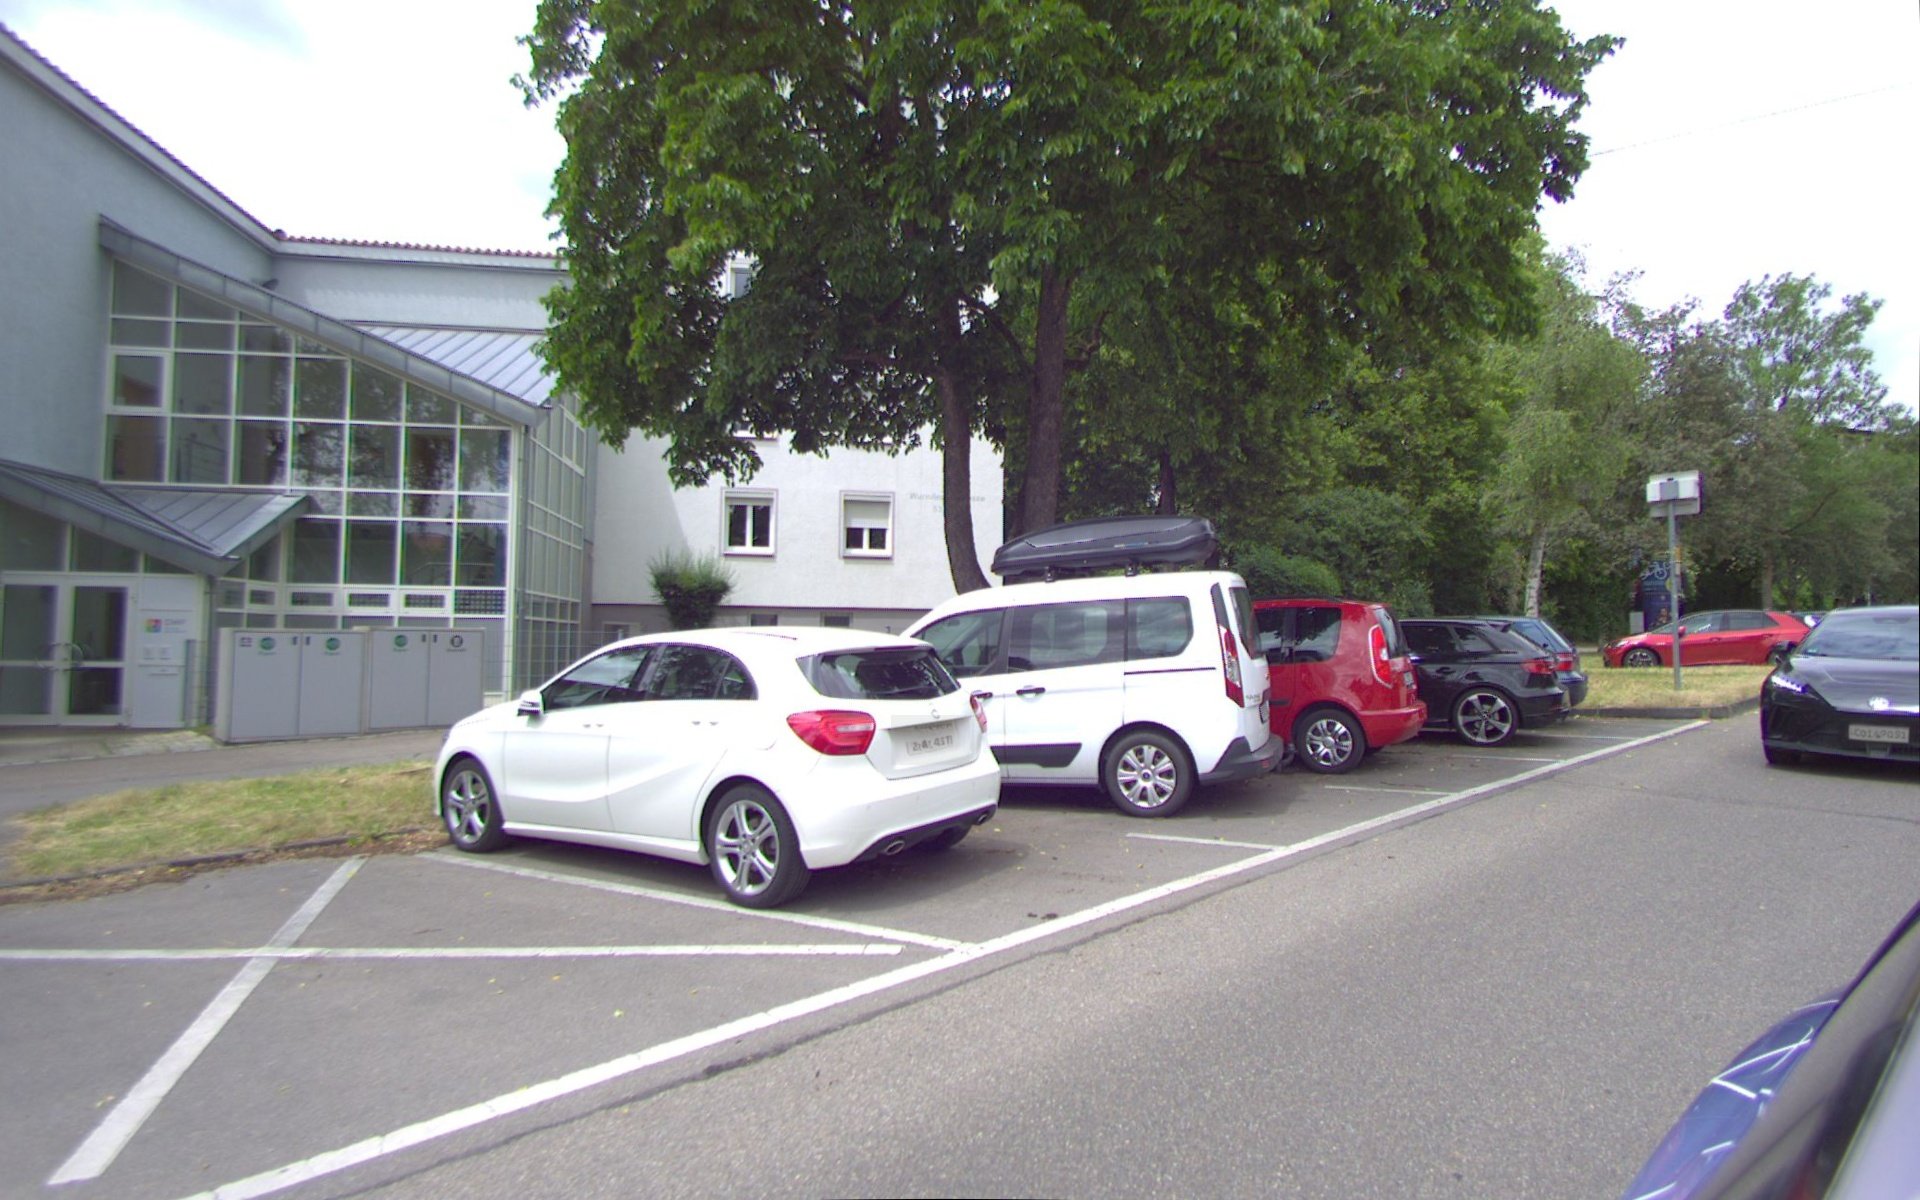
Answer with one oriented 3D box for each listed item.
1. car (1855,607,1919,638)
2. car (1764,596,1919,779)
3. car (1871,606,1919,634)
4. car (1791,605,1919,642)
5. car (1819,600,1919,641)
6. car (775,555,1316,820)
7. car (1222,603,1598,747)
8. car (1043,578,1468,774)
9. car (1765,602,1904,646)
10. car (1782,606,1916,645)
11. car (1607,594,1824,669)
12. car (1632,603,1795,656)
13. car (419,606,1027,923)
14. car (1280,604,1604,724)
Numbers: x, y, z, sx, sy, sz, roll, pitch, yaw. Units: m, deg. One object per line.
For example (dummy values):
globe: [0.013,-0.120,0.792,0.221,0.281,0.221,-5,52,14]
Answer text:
car: [45.150,1.047,48.110,3.841,1.404,1.630,-2,-2,42]
car: [9.270,0.721,9.749,3.728,1.511,1.811,0,0,-42]
car: [50.573,1.044,53.222,3.841,1.404,1.630,-2,-2,42]
car: [36.359,0.960,41.196,3.841,1.404,1.630,-2,-2,42]
car: [39.177,0.895,43.116,3.841,1.664,1.630,-2,-2,42]
car: [0.703,0.656,8.557,4.176,1.781,1.843,-2,-1,25]
car: [5.282,0.824,12.067,3.831,1.453,1.634,-2,-2,35]
car: [2.987,0.707,10.490,3.831,1.664,1.830,-2,-2,35]
car: [32.660,0.911,37.906,3.841,1.582,1.630,-2,-2,42]
car: [34.752,1.010,39.674,3.841,1.404,1.630,-2,-2,42]
car: [17.625,0.757,23.854,3.823,1.633,1.638,-2,-1,30]
car: [23.451,0.936,31.690,3.823,1.578,1.638,-2,-1,30]
car: [-1.653,0.822,6.508,3.831,1.457,1.694,-2,-2,35]
car: [6.620,0.833,14.053,3.831,1.453,1.634,-2,-2,35]
